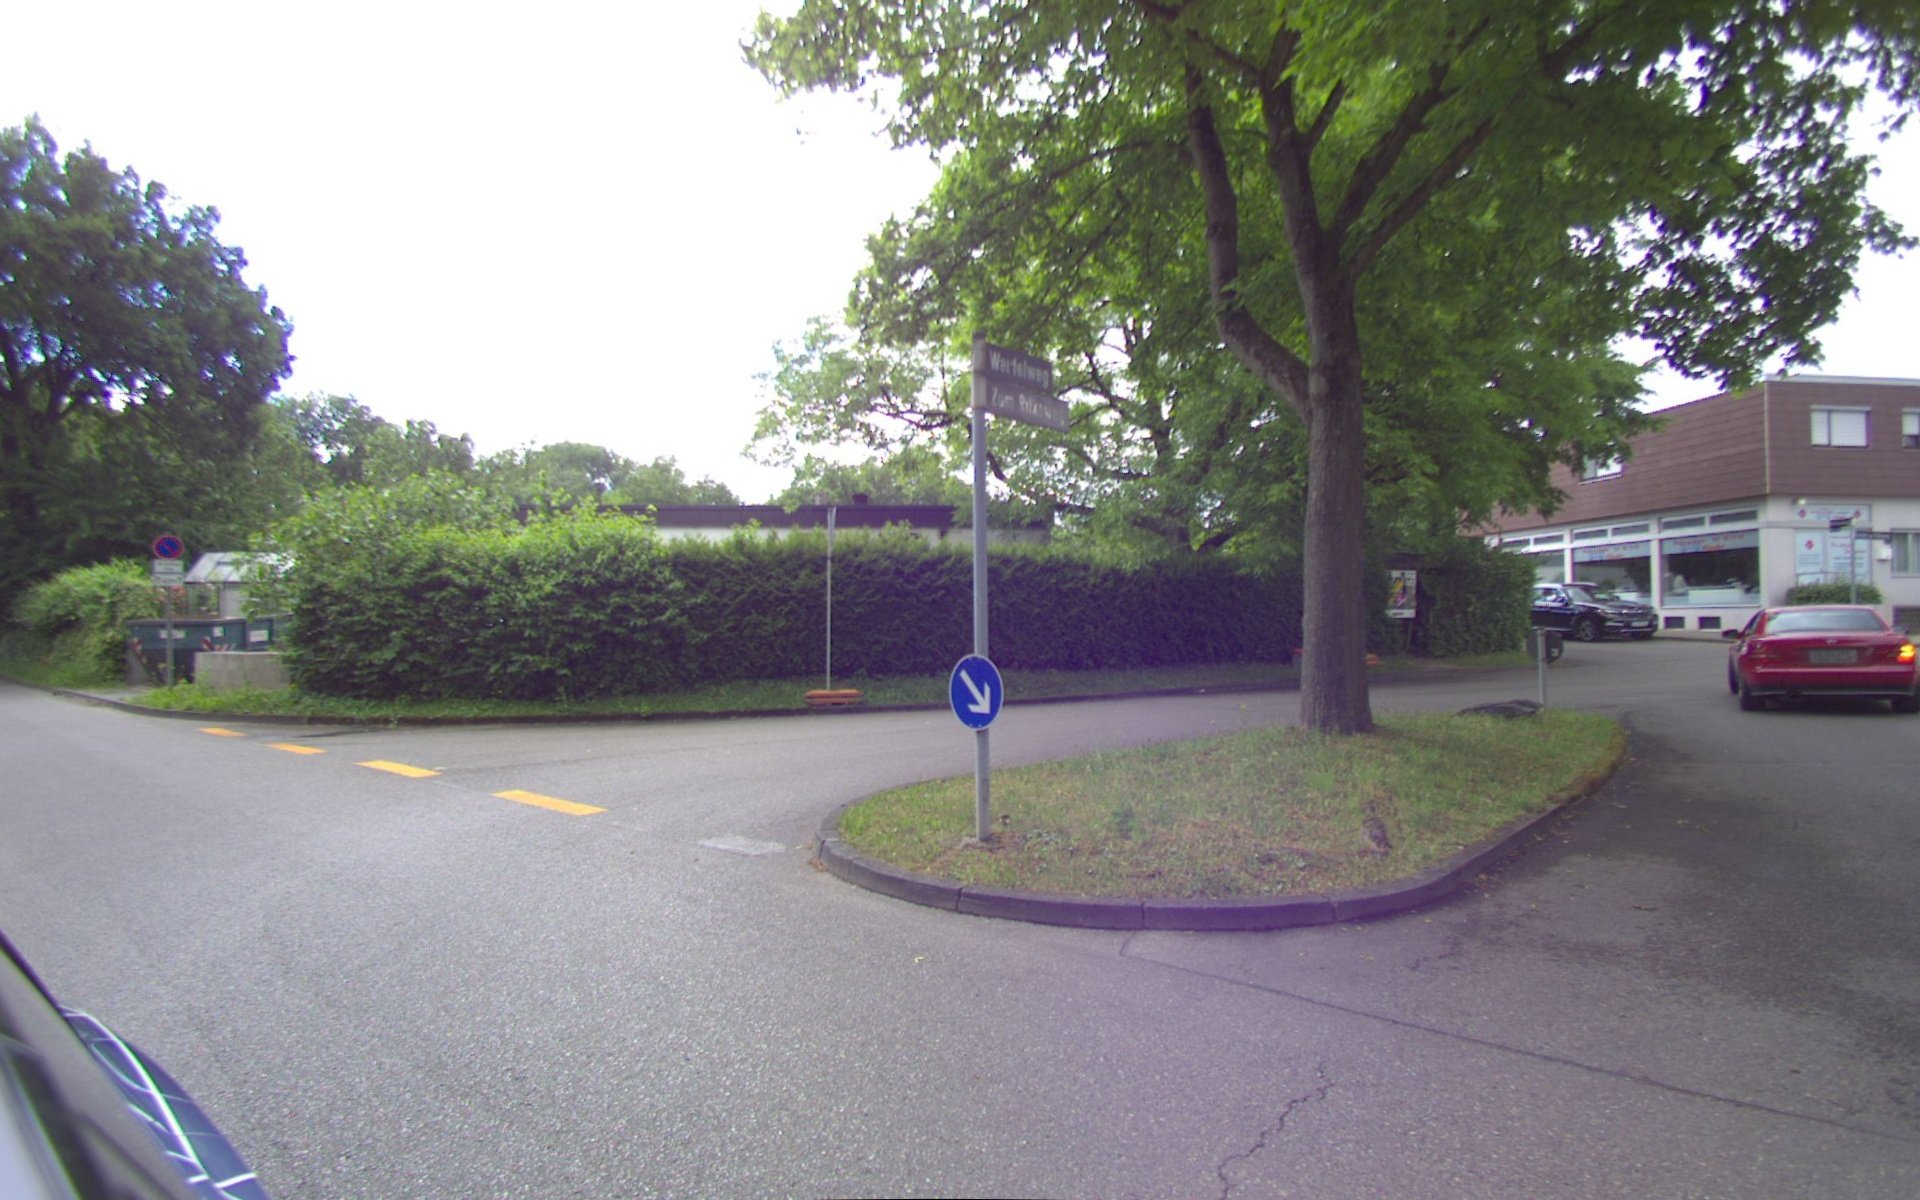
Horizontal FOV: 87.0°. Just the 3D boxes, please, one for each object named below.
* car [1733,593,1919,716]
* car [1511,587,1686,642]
[{"bbox_3d":[11.157,0.614,13.087,1.753,1.346,4.014,-2,-1,37],"label":"car"},{"bbox_3d":[18.417,0.420,29.466,1.969,1.386,4.285,-3,-1,-6],"label":"car"}]
